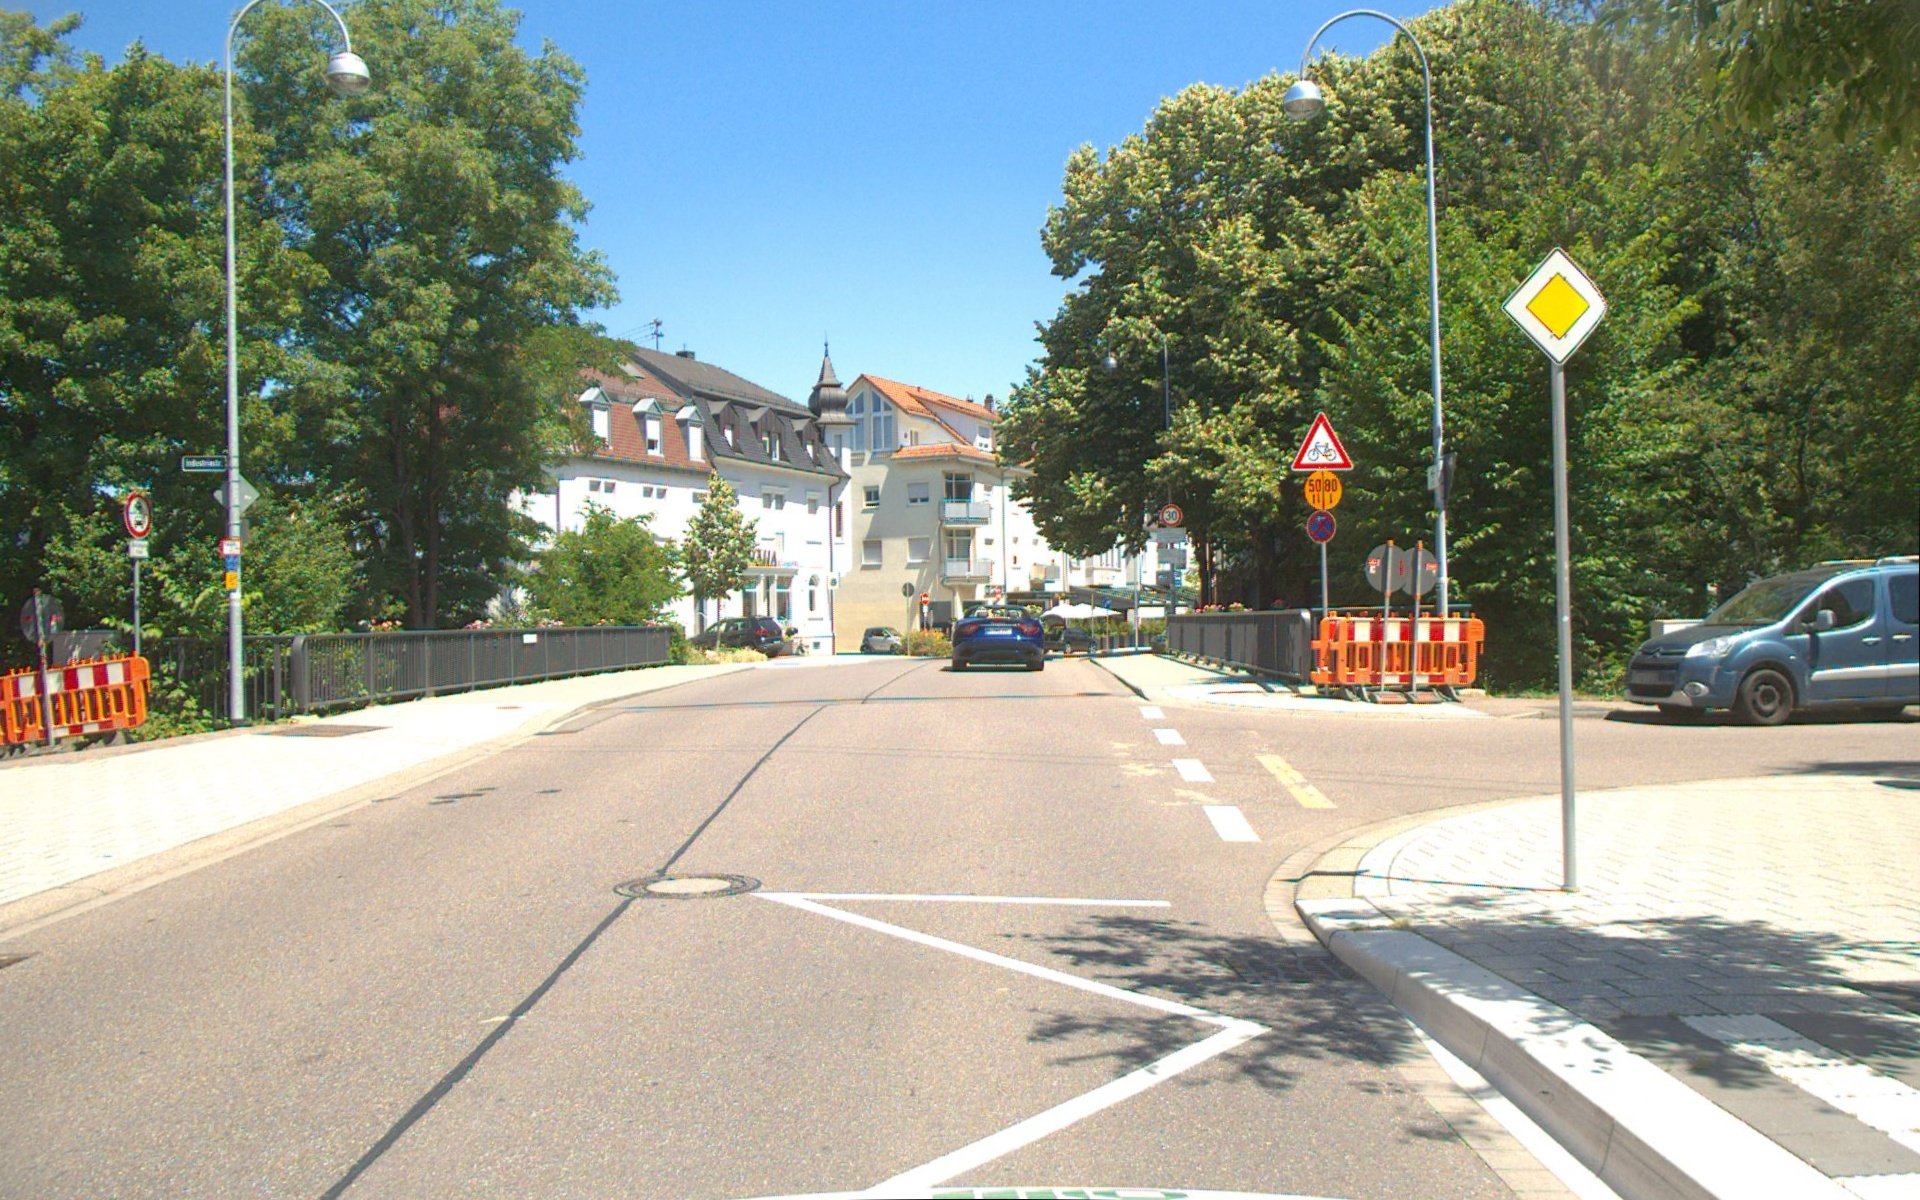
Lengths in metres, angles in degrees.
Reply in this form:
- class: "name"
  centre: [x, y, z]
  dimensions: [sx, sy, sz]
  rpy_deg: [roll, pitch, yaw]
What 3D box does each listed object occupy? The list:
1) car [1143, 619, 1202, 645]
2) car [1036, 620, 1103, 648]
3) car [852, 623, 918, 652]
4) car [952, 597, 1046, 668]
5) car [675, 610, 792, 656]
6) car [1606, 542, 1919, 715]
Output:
- class: "car"
  centre: [12.610, 1.877, 98.029]
  dimensions: [1.800, 1.454, 4.774]
  rpy_deg: [0, 0, 29]
- class: "car"
  centre: [5.928, 1.839, 89.325]
  dimensions: [1.684, 1.486, 4.112]
  rpy_deg: [1, -1, 37]
- class: "car"
  centre: [-4.138, 2.068, 90.902]
  dimensions: [3.196, 1.484, 1.691]
  rpy_deg: [-2, -1, 23]
- class: "car"
  centre: [0.813, 0.663, 34.416]
  dimensions: [1.832, 1.366, 4.596]
  rpy_deg: [0, -1, 1]
- class: "car"
  centre: [-8.899, 1.313, 64.953]
  dimensions: [4.095, 1.691, 1.970]
  rpy_deg: [-2, -2, 23]
- class: "car"
  centre: [9.887, 0.321, 19.081]
  dimensions: [4.257, 1.871, 1.746]
  rpy_deg: [0, -1, -9]
